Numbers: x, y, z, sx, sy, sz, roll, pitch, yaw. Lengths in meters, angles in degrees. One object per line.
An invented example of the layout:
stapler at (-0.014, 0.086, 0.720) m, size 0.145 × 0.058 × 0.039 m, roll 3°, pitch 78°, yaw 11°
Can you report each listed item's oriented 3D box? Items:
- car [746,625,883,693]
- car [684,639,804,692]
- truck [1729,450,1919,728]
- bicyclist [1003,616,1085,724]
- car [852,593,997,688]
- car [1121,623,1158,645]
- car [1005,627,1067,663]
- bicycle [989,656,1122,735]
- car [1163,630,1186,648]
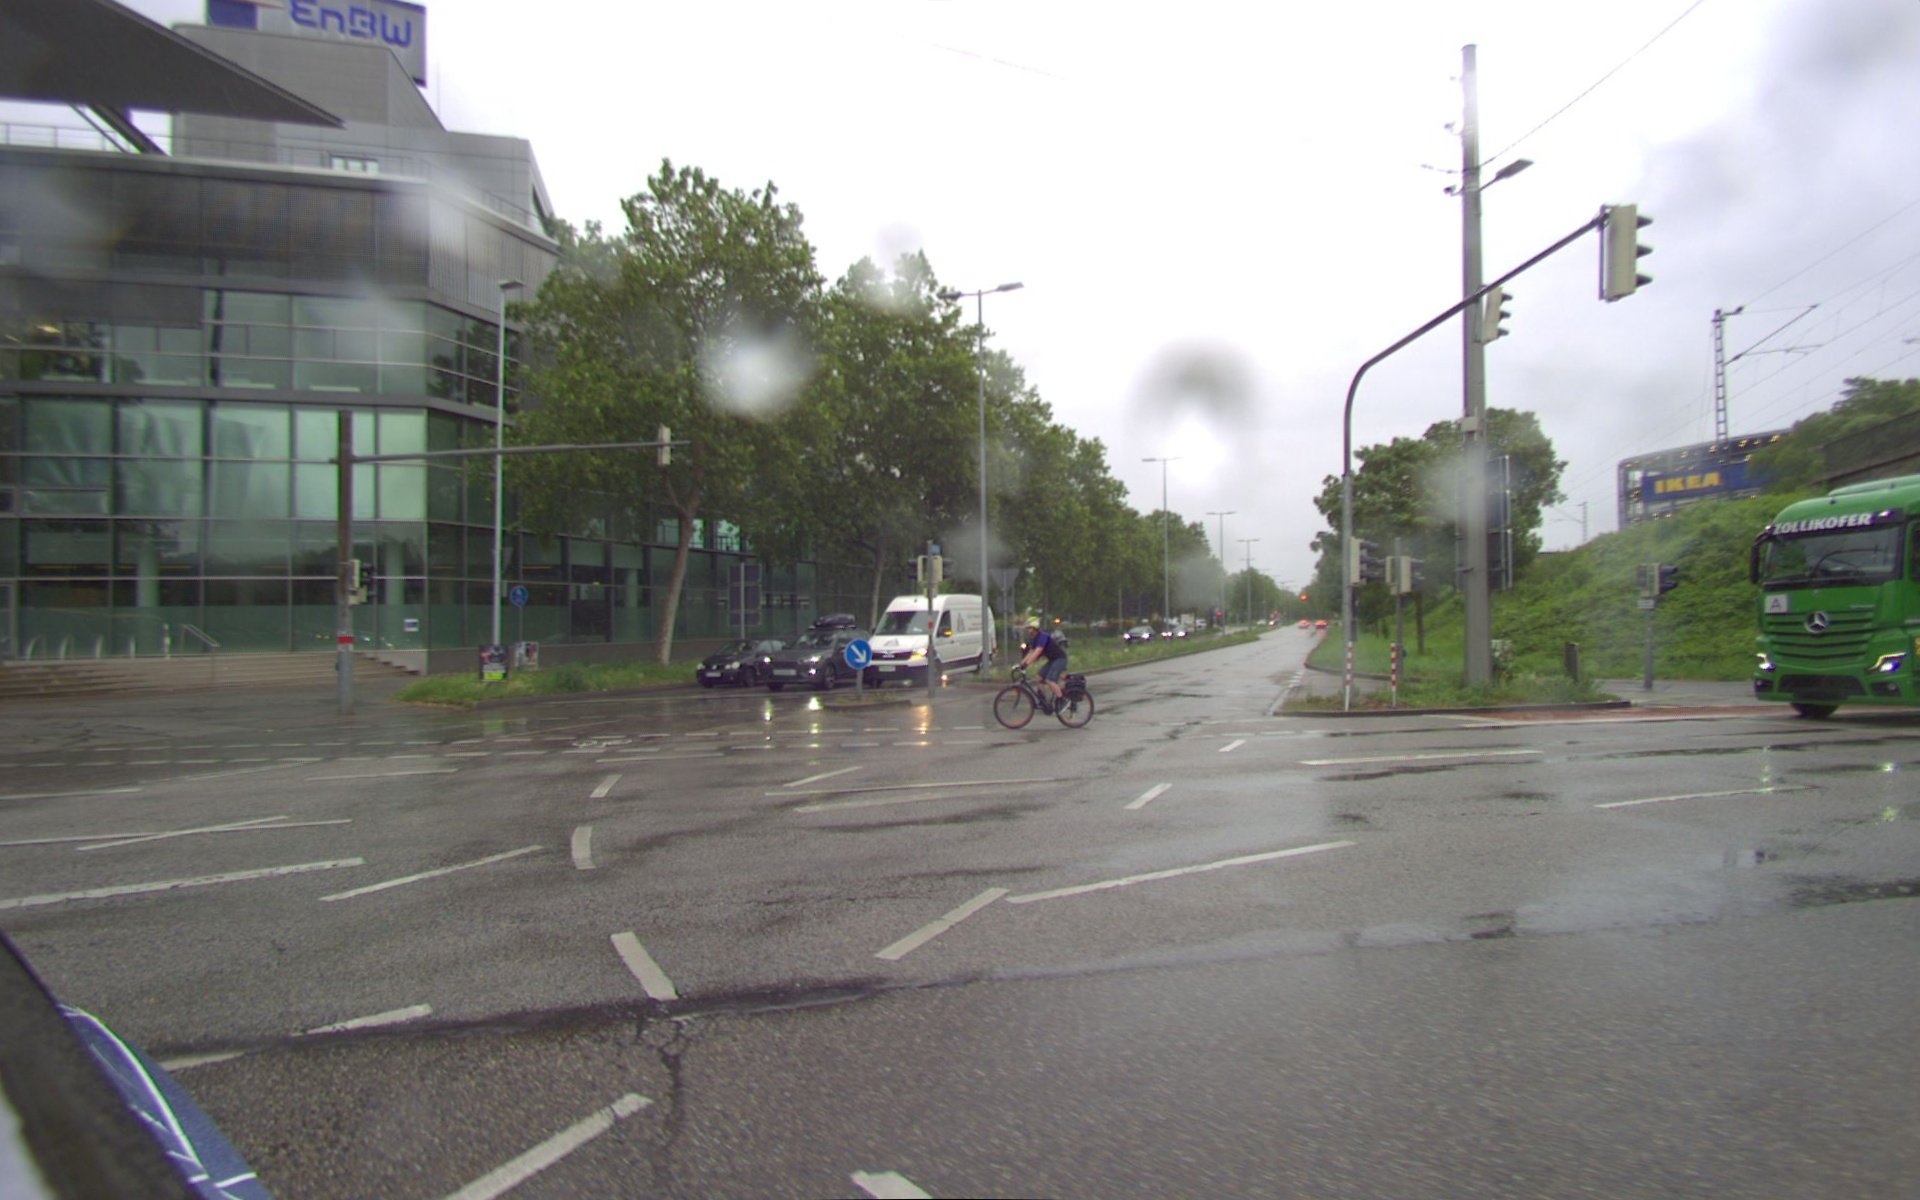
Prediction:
car at (-3.958, 1.596, 28.323) m, size 1.985 × 1.761 × 4.297 m, roll -1°, pitch -2°, yaw 21°
car at (-6.506, 1.955, 30.872) m, size 1.789 × 1.447 × 3.974 m, roll -2°, pitch -2°, yaw 19°
truck at (18.212, -0.143, 16.967) m, size 10.023 × 3.979 × 2.695 m, roll 0°, pitch -2°, yaw -14°
bicyclist at (1.309, 1.074, 15.858) m, size 1.030 × 1.605 × 0.807 m, roll -2°, pitch -2°, yaw -11°
car at (-0.862, 1.124, 29.108) m, size 1.957 × 2.452 × 5.918 m, roll -1°, pitch -2°, yaw 22°
car at (13.360, 2.528, 75.233) m, size 1.897 × 1.597 × 3.894 m, roll -1°, pitch -2°, yaw 23°
car at (3.814, 2.196, 50.201) m, size 1.857 × 1.697 × 3.969 m, roll -1°, pitch -2°, yaw 23°
bicycle at (1.469, 1.462, 15.683) m, size 1.882 × 1.103 × 0.696 m, roll -2°, pitch -2°, yaw -10°
car at (20.015, 3.615, 94.184) m, size 1.570 × 1.534 × 3.898 m, roll -1°, pitch -2°, yaw 20°
